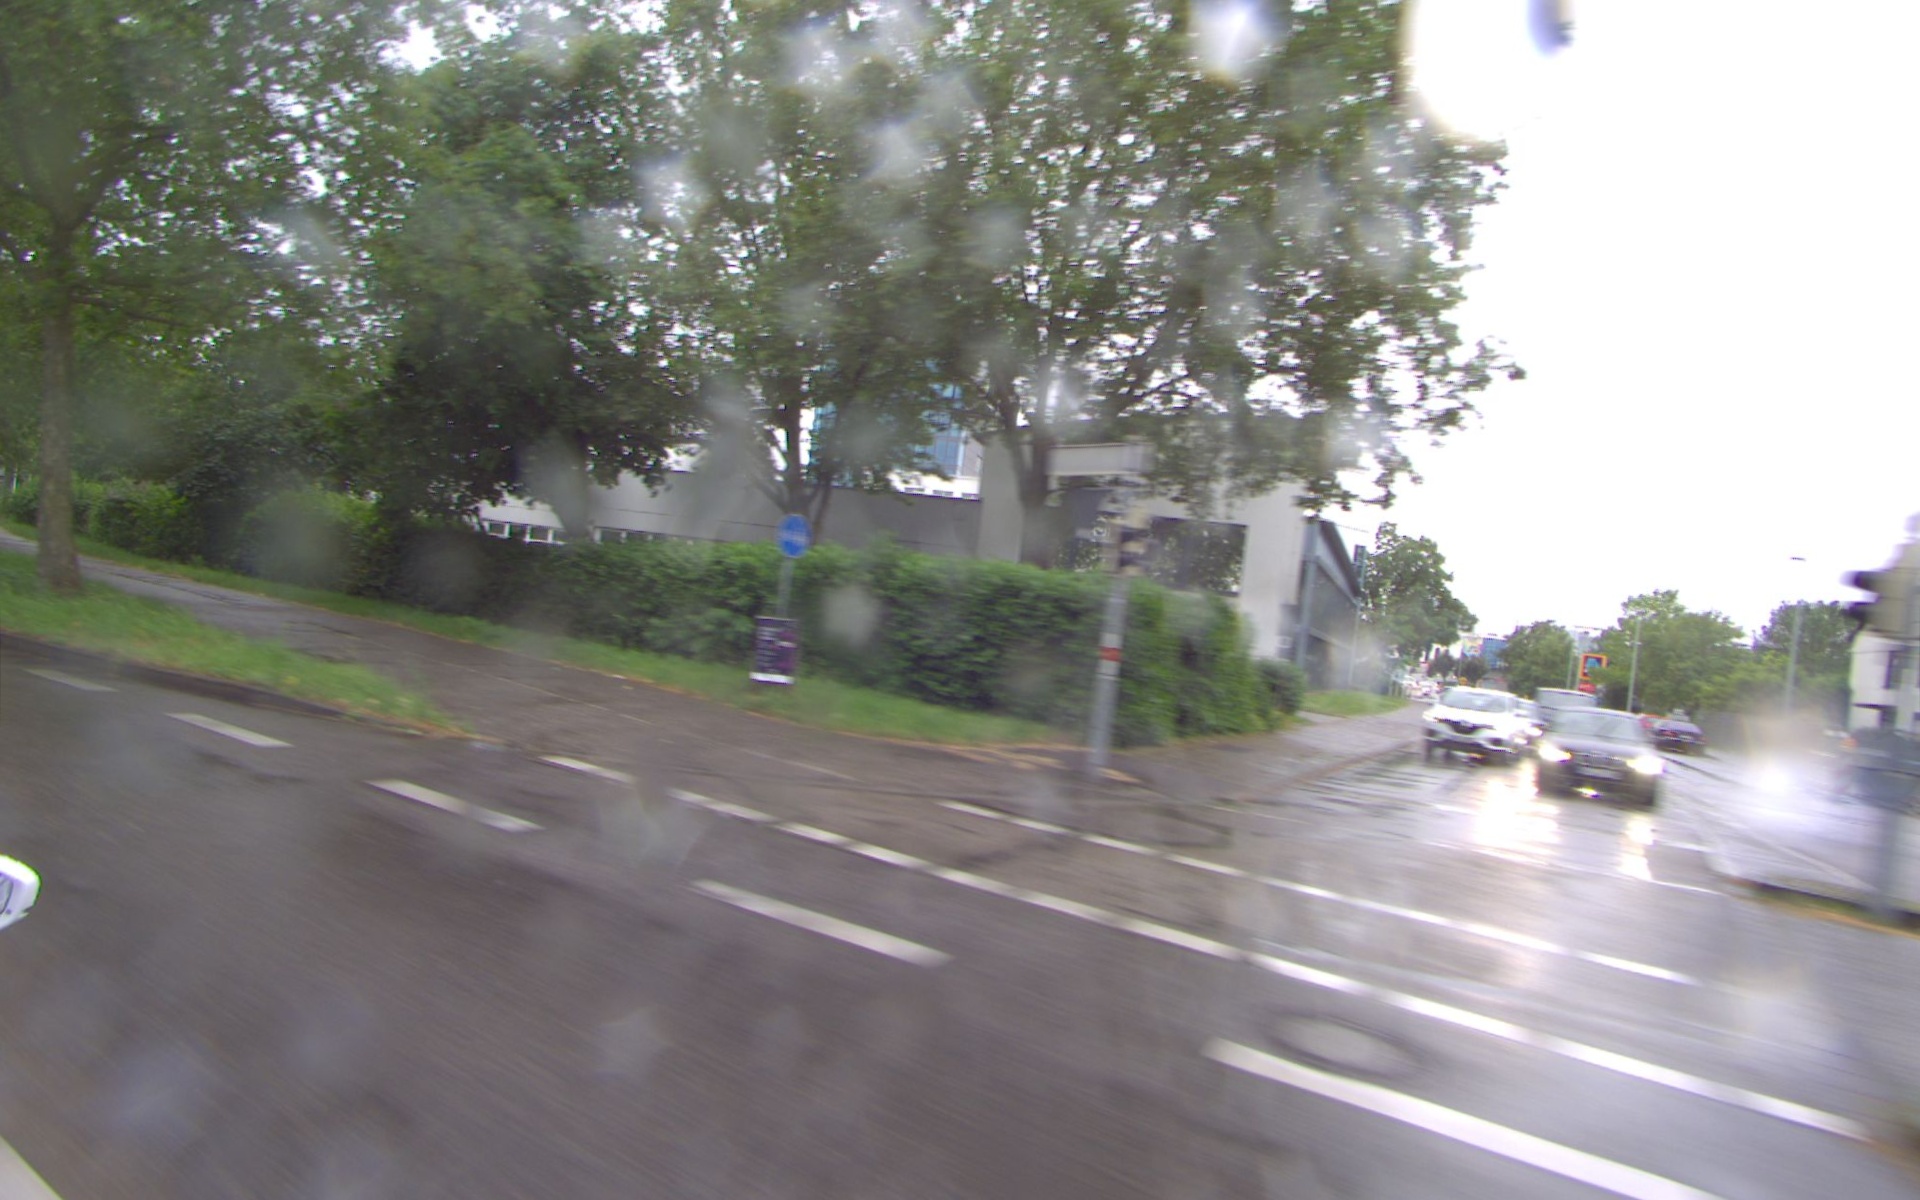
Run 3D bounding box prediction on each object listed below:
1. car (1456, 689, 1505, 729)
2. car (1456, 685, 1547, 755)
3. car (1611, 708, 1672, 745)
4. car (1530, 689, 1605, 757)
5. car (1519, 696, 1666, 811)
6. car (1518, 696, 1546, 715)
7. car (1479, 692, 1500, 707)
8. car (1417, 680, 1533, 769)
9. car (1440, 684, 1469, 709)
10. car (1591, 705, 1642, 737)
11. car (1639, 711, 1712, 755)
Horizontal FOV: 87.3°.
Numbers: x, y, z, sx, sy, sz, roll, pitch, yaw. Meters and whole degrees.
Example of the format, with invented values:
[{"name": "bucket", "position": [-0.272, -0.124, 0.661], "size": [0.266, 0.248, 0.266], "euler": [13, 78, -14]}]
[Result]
[{"name": "car", "position": [26.231, 5.451, 50.806], "size": [1.793, 1.609, 4.304], "euler": [7, -1, 24]}, {"name": "car", "position": [15.479, 3.355, 28.649], "size": [1.796, 1.609, 4.296], "euler": [7, -1, 33]}, {"name": "car", "position": [35.181, 6.498, 52.034], "size": [1.717, 1.477, 4.037], "euler": [7, -1, 23]}, {"name": "car", "position": [19.730, 3.921, 32.608], "size": [1.796, 1.819, 4.473], "euler": [7, -1, 33]}, {"name": "car", "position": [10.994, 2.529, 17.508], "size": [1.823, 1.501, 4.381], "euler": [5, -1, 33]}, {"name": "car", "position": [55.610, 10.264, 97.823], "size": [1.717, 1.477, 4.037], "euler": [7, -1, 23]}, {"name": "car", "position": [62.364, 11.702, 118.598], "size": [1.717, 1.477, 4.037], "euler": [7, -1, 23]}, {"name": "car", "position": [12.065, 2.820, 23.424], "size": [1.858, 1.609, 4.296], "euler": [7, -1, 33]}, {"name": "car", "position": [39.518, 7.703, 80.464], "size": [1.793, 1.609, 4.304], "euler": [7, -1, 24]}, {"name": "car", "position": [39.510, 7.254, 60.632], "size": [1.717, 1.477, 4.037], "euler": [7, -1, 23]}, {"name": "car", "position": [32.396, 5.990, 45.656], "size": [1.717, 1.477, 4.037], "euler": [7, -1, 23]}]
